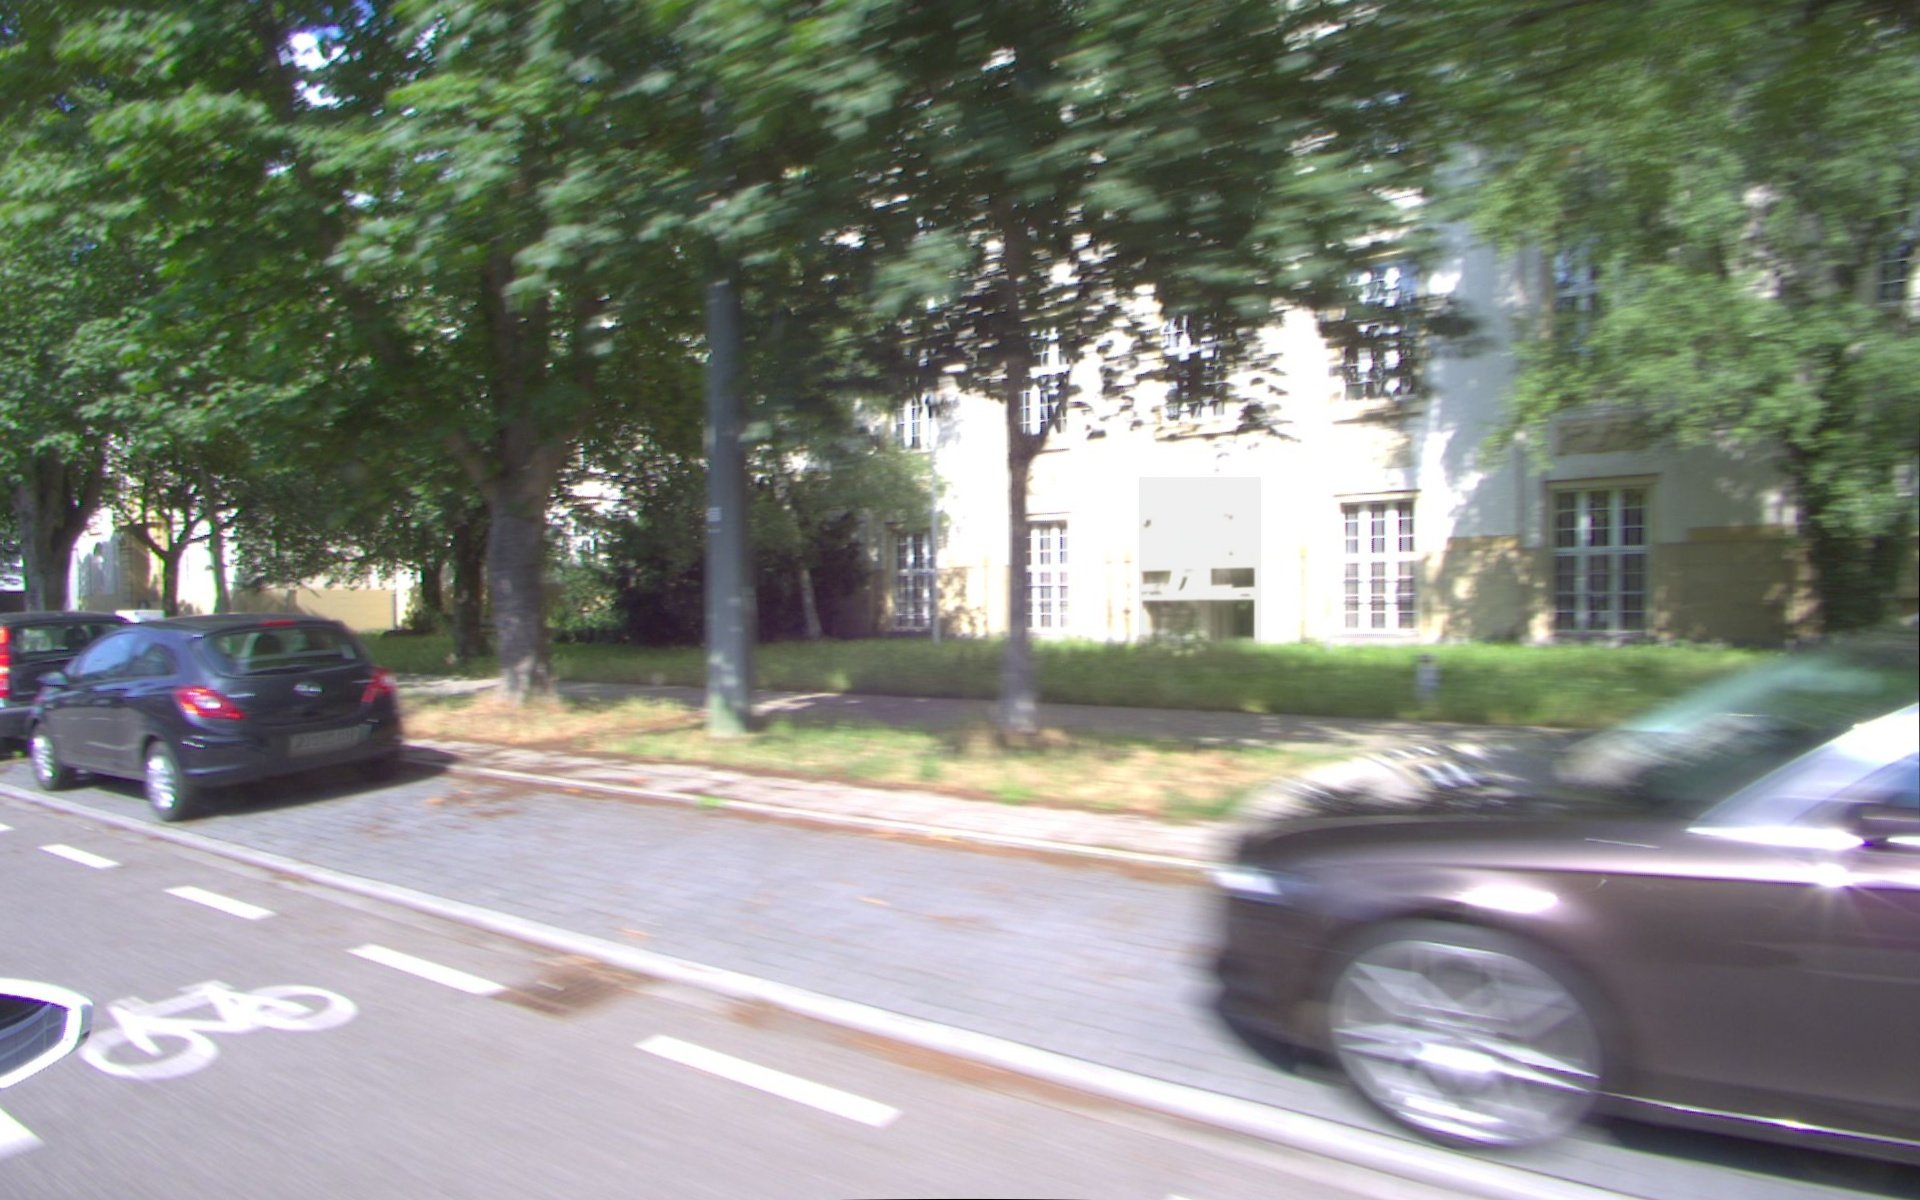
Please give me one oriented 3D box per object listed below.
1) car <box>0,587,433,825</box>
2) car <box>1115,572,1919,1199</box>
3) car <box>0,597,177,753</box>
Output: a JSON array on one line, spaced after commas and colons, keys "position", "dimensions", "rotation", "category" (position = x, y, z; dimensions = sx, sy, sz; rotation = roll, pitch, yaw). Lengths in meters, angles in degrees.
[{"position": [-6.687, 0.752, 8.786], "dimensions": [4.245, 1.583, 1.686], "rotation": [-1, 3, 32], "category": "car"}, {"position": [3.013, 0.686, 2.739], "dimensions": [4.758, 1.487, 1.828], "rotation": [-2, 2, 29], "category": "car"}, {"position": [-10.933, 0.803, 11.657], "dimensions": [3.505, 1.481, 1.552], "rotation": [-2, 4, 30], "category": "car"}]
